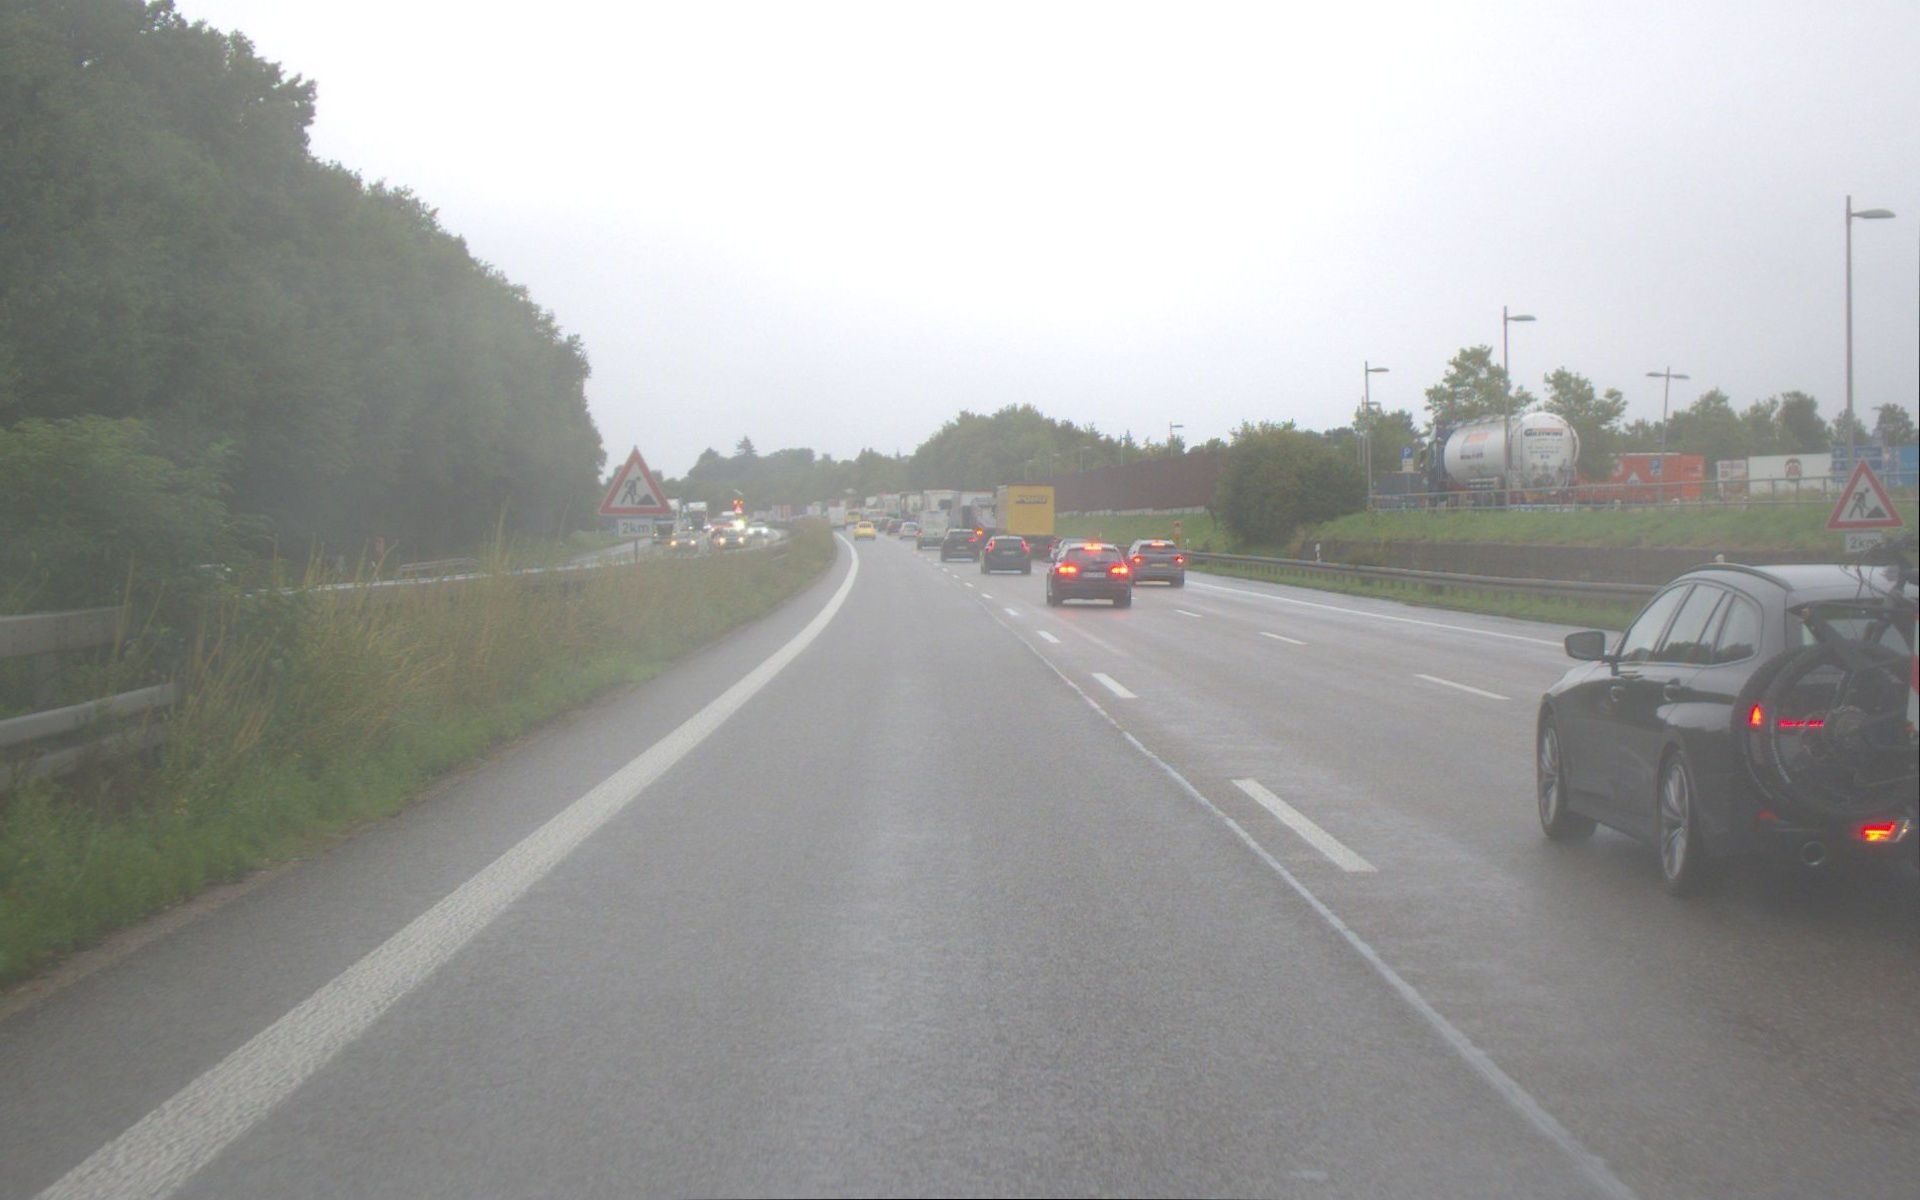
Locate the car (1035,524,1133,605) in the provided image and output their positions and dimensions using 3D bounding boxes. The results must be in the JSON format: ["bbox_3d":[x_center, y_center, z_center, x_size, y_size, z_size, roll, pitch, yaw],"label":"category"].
[{"bbox_3d":[2.792,-0.831,78.232,1.993,1.755,4.000,-1,1,-1],"label":"car"}]

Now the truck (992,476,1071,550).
[{"bbox_3d":[3.971,-4.862,193.907,3.924,3.968,12.240,-1,1,-1],"label":"truck"}]

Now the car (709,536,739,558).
[{"bbox_3d":[-15.361,-3.474,223.967,1.678,1.393,4.000,-1,1,-1],"label":"car"}]

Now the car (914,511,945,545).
[{"bbox_3d":[-2.019,-4.799,228.586,1.993,2.197,4.000,-1,1,-1],"label":"car"}]

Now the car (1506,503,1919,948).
[{"bbox_3d":[3.985,0.473,15.699,2.057,1.666,5.522,1,0,0],"label":"car"}]

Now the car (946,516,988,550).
[{"bbox_3d":[0.351,-3.360,172.434,1.993,1.623,4.000,-1,1,-1],"label":"car"}]

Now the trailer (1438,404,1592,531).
[{"bbox_3d":[19.179,-4.501,119.773,2.985,4.142,12.957,-1,1,-1],"label":"trailer"}]

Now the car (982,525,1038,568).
[{"bbox_3d":[1.919,-2.072,132.911,1.993,1.623,4.000,-1,1,-1],"label":"car"}]

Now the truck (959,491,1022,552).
[{"bbox_3d":[2.016,-5.344,234.308,3.924,3.968,12.240,-1,1,-1],"label":"truck"}]

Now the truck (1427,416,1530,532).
[{"bbox_3d":[19.083,-4.614,126.670,2.949,4.131,4.922,-1,1,0],"label":"truck"}]

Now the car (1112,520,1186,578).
[{"bbox_3d":[5.905,-1.614,107.862,1.993,1.755,4.000,-1,1,-1],"label":"car"}]
